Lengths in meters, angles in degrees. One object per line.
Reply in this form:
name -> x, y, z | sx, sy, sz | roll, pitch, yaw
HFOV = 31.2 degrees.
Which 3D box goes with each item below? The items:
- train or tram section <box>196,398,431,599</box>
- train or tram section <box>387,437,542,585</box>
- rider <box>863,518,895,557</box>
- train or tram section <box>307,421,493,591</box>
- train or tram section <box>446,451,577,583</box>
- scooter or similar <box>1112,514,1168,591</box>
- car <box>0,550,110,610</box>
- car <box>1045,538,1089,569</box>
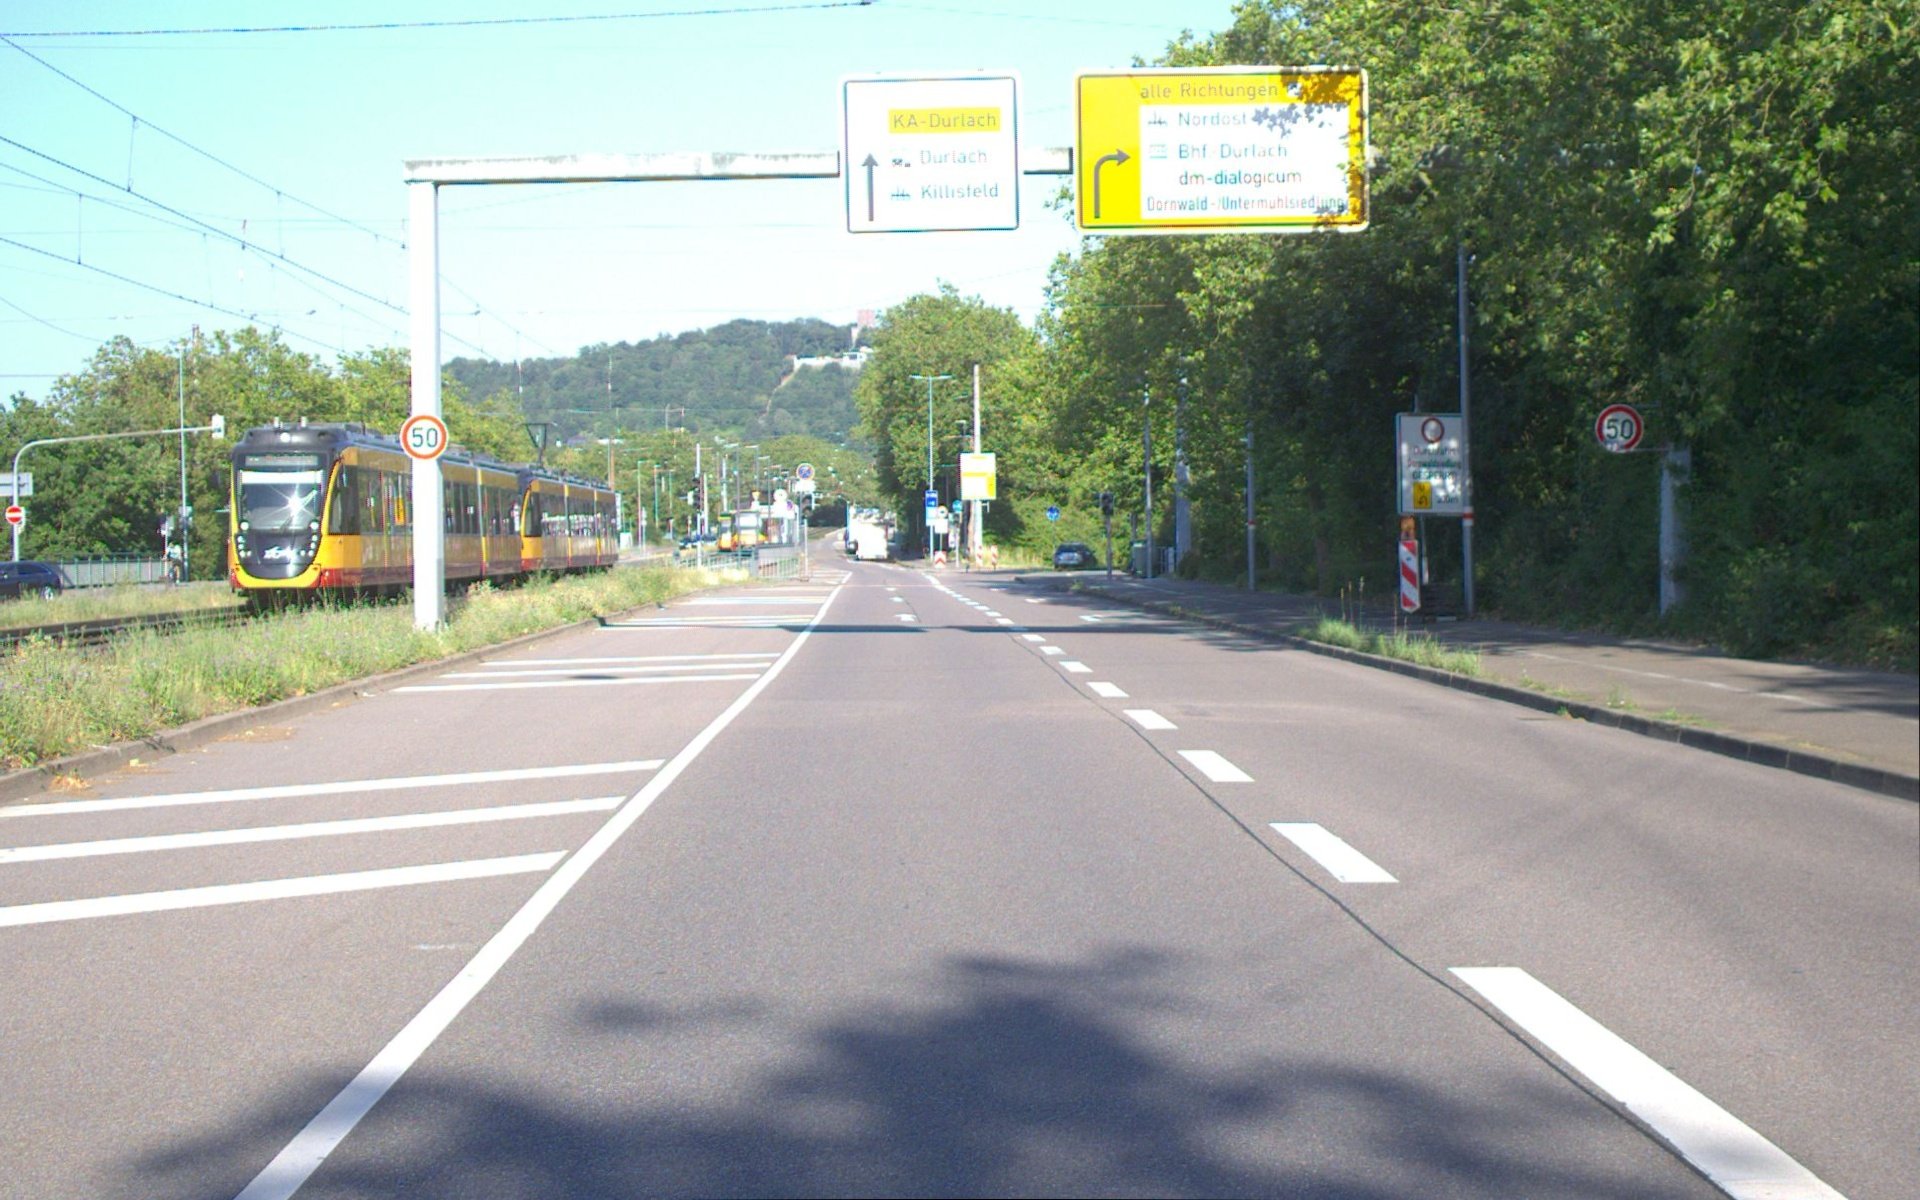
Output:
train or tram section -> -13.532, -2.067, 73.069 | 2.804, 3.889, 12.333 | 1, 1, -1
train or tram section -> -13.873, -2.450, 97.124 | 2.804, 3.889, 11.813 | 1, 1, -1
rider -> -5.612, -4.336, 237.821 | 2.109, 2.638, 0.736 | 0, 1, 4
train or tram section -> -13.718, -2.260, 85.212 | 2.804, 3.889, 11.992 | 1, 1, -1
train or tram section -> -14.134, -2.589, 109.260 | 2.824, 3.937, 12.708 | 1, 1, -1
scooter or similar -> 6.439, -1.720, 123.347 | 1.681, 2.706, 4.869 | 0, 1, -1
car -> -29.150, -0.624, 106.561 | 5.120, 1.808, 1.948 | 0, 1, -28
car -> 5.686, -2.460, 181.954 | 2.087, 1.560, 3.954 | 1, 1, 5
